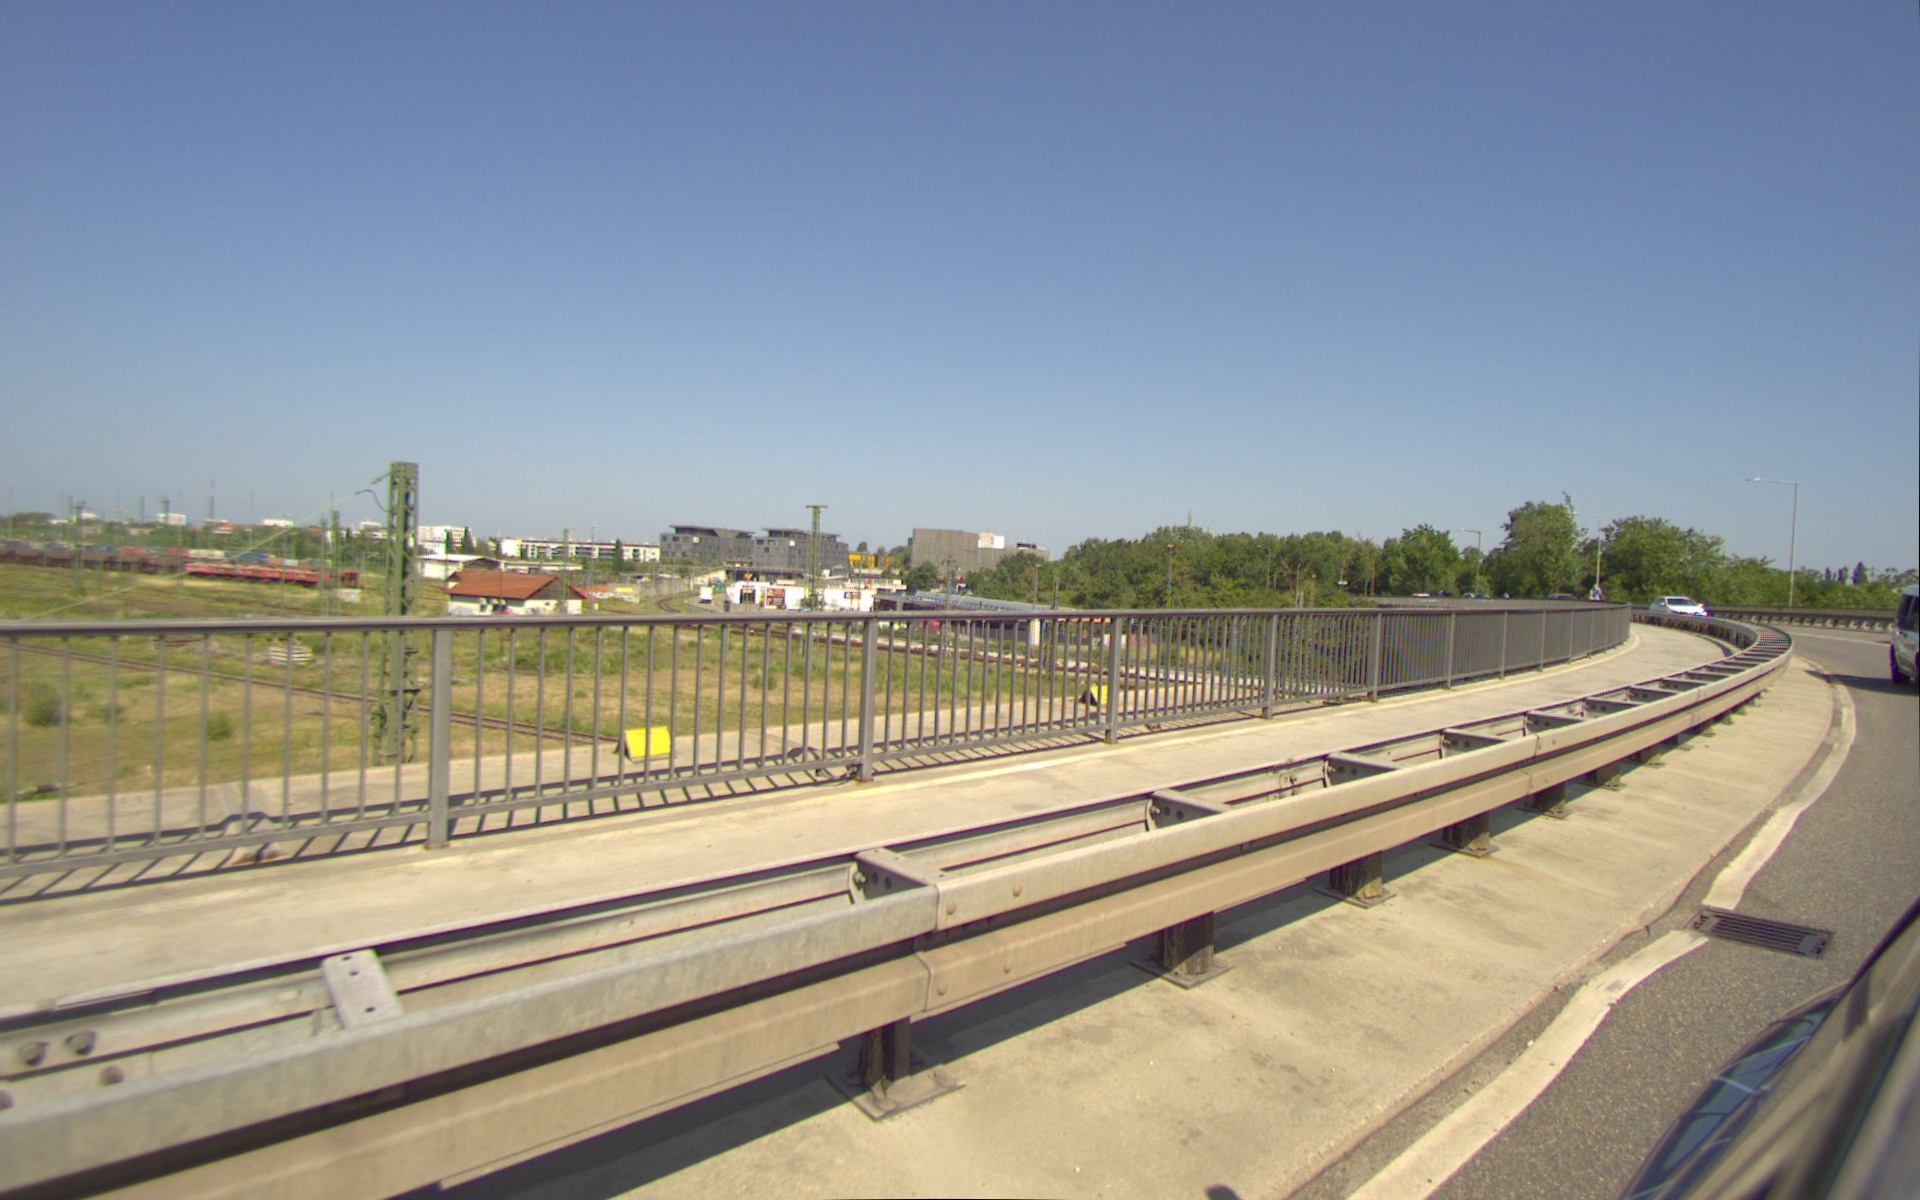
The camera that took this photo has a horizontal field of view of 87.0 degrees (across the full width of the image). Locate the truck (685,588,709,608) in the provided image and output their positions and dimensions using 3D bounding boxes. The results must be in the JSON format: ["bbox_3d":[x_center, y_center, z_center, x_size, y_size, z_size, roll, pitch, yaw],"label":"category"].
[{"bbox_3d":[-58.973,-0.560,226.839,3.742,4.080,13.300,3,0,-20],"label":"truck"}]

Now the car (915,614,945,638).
[{"bbox_3d":[-4.110,3.491,137.329,2.261,2.694,5.391,-4,4,-21],"label":"car"}]

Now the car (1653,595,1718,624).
[{"bbox_3d":[39.018,0.478,54.527,1.825,1.507,4.123,0,0,21],"label":"car"}]

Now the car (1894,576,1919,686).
[{"bbox_3d":[17.081,0.520,16.775,1.888,1.818,4.388,0,0,37],"label":"car"}]
